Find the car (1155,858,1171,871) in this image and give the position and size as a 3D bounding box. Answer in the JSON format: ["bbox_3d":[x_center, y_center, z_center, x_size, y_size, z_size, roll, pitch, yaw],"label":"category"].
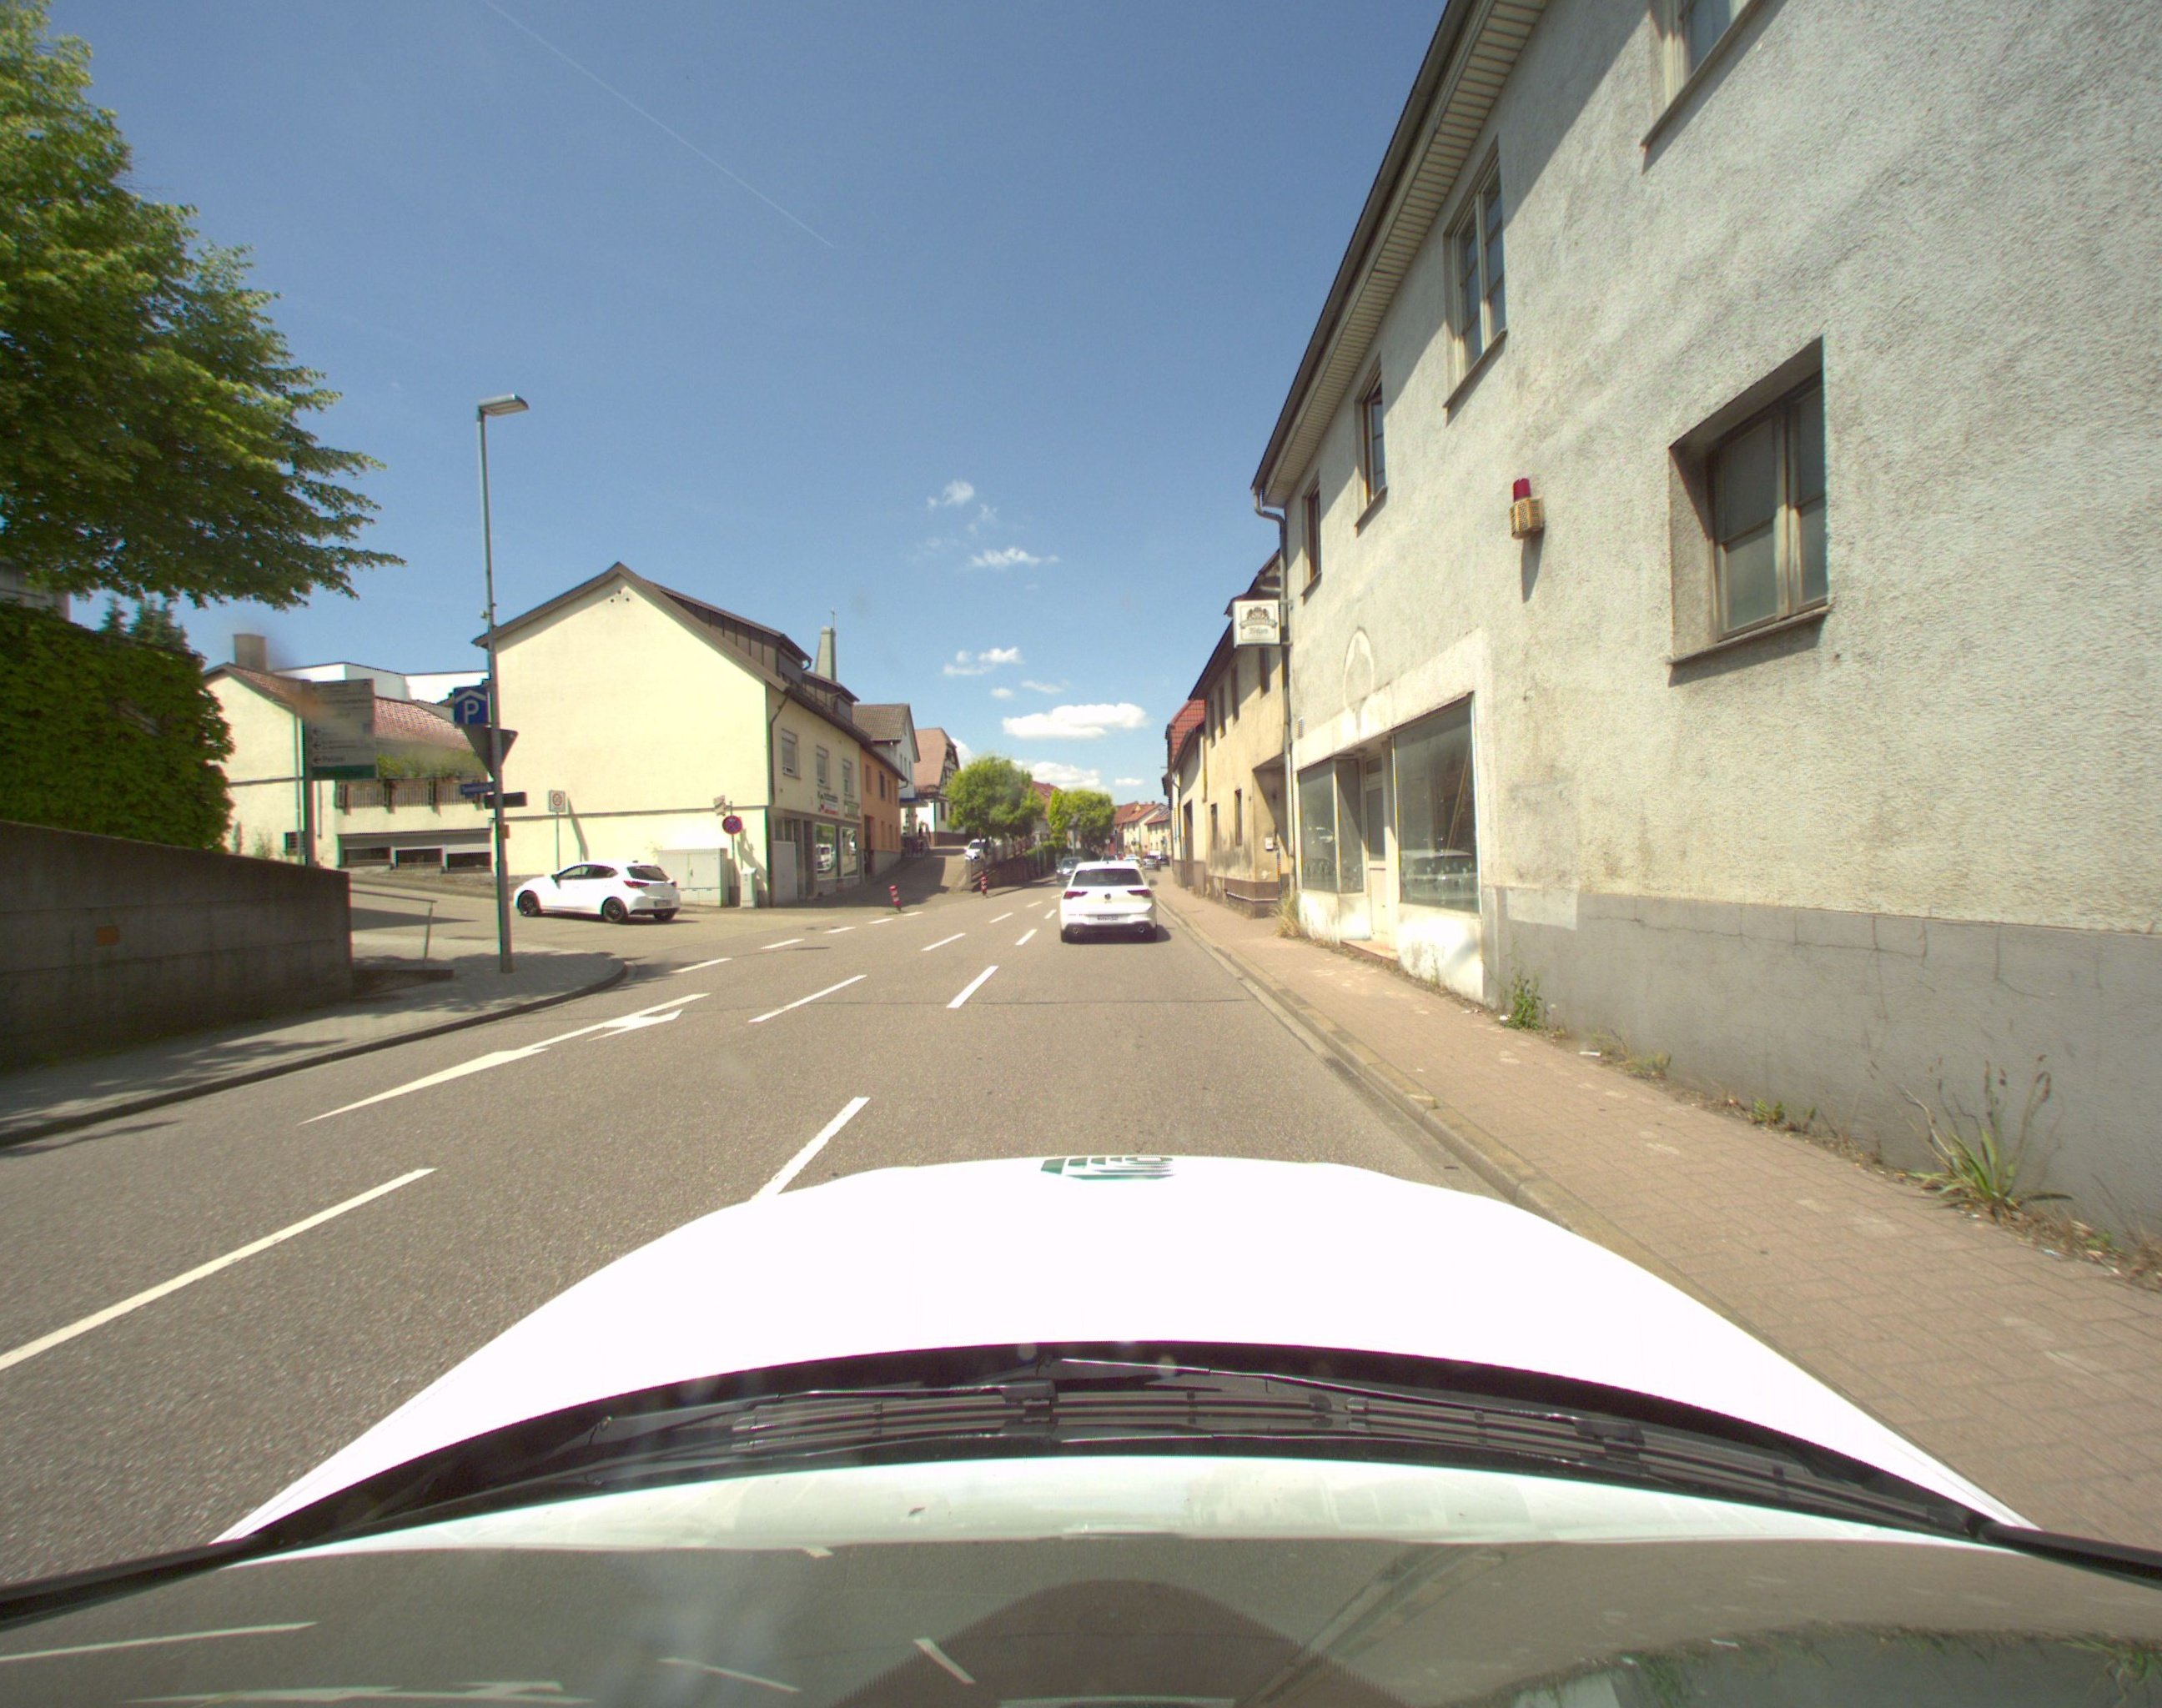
[{"bbox_3d":[10.112,1.292,100.879,1.767,1.538,4.004,-2,0,4],"label":"car"}]

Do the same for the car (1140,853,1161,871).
[{"bbox_3d":[6.520,0.724,76.830,1.769,1.538,4.001,-2,0,1],"label":"car"}]

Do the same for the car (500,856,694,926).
[{"bbox_3d":[-11.914,0.859,20.115,3.958,1.467,1.821,2,1,15],"label":"car"}]

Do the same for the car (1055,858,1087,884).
[{"bbox_3d":[-0.633,1.113,54.526,1.750,1.635,4.054,-2,0,4],"label":"car"}]

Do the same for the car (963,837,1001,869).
[{"bbox_3d":[-6.054,-0.102,50.258,1.687,1.542,3.859,-1,5,2],"label":"car"}]

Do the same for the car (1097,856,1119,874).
[{"bbox_3d":[2.650,1.056,78.120,1.834,1.580,4.451,-2,0,5],"label":"car"}]

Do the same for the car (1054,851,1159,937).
[{"bbox_3d":[0.568,0.700,15.955,1.800,1.467,4.004,0,0,4],"label":"car"}]

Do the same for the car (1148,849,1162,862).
[{"bbox_3d":[10.575,0.145,116.390,1.767,1.765,4.004,-2,0,4],"label":"car"}]

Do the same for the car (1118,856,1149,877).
[{"bbox_3d":[3.799,0.895,58.512,1.796,1.467,4.011,0,0,10],"label":"car"}]

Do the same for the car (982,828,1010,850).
[{"bbox_3d":[-6.464,-1.153,62.373,1.571,1.361,3.859,-1,5,2],"label":"car"}]
